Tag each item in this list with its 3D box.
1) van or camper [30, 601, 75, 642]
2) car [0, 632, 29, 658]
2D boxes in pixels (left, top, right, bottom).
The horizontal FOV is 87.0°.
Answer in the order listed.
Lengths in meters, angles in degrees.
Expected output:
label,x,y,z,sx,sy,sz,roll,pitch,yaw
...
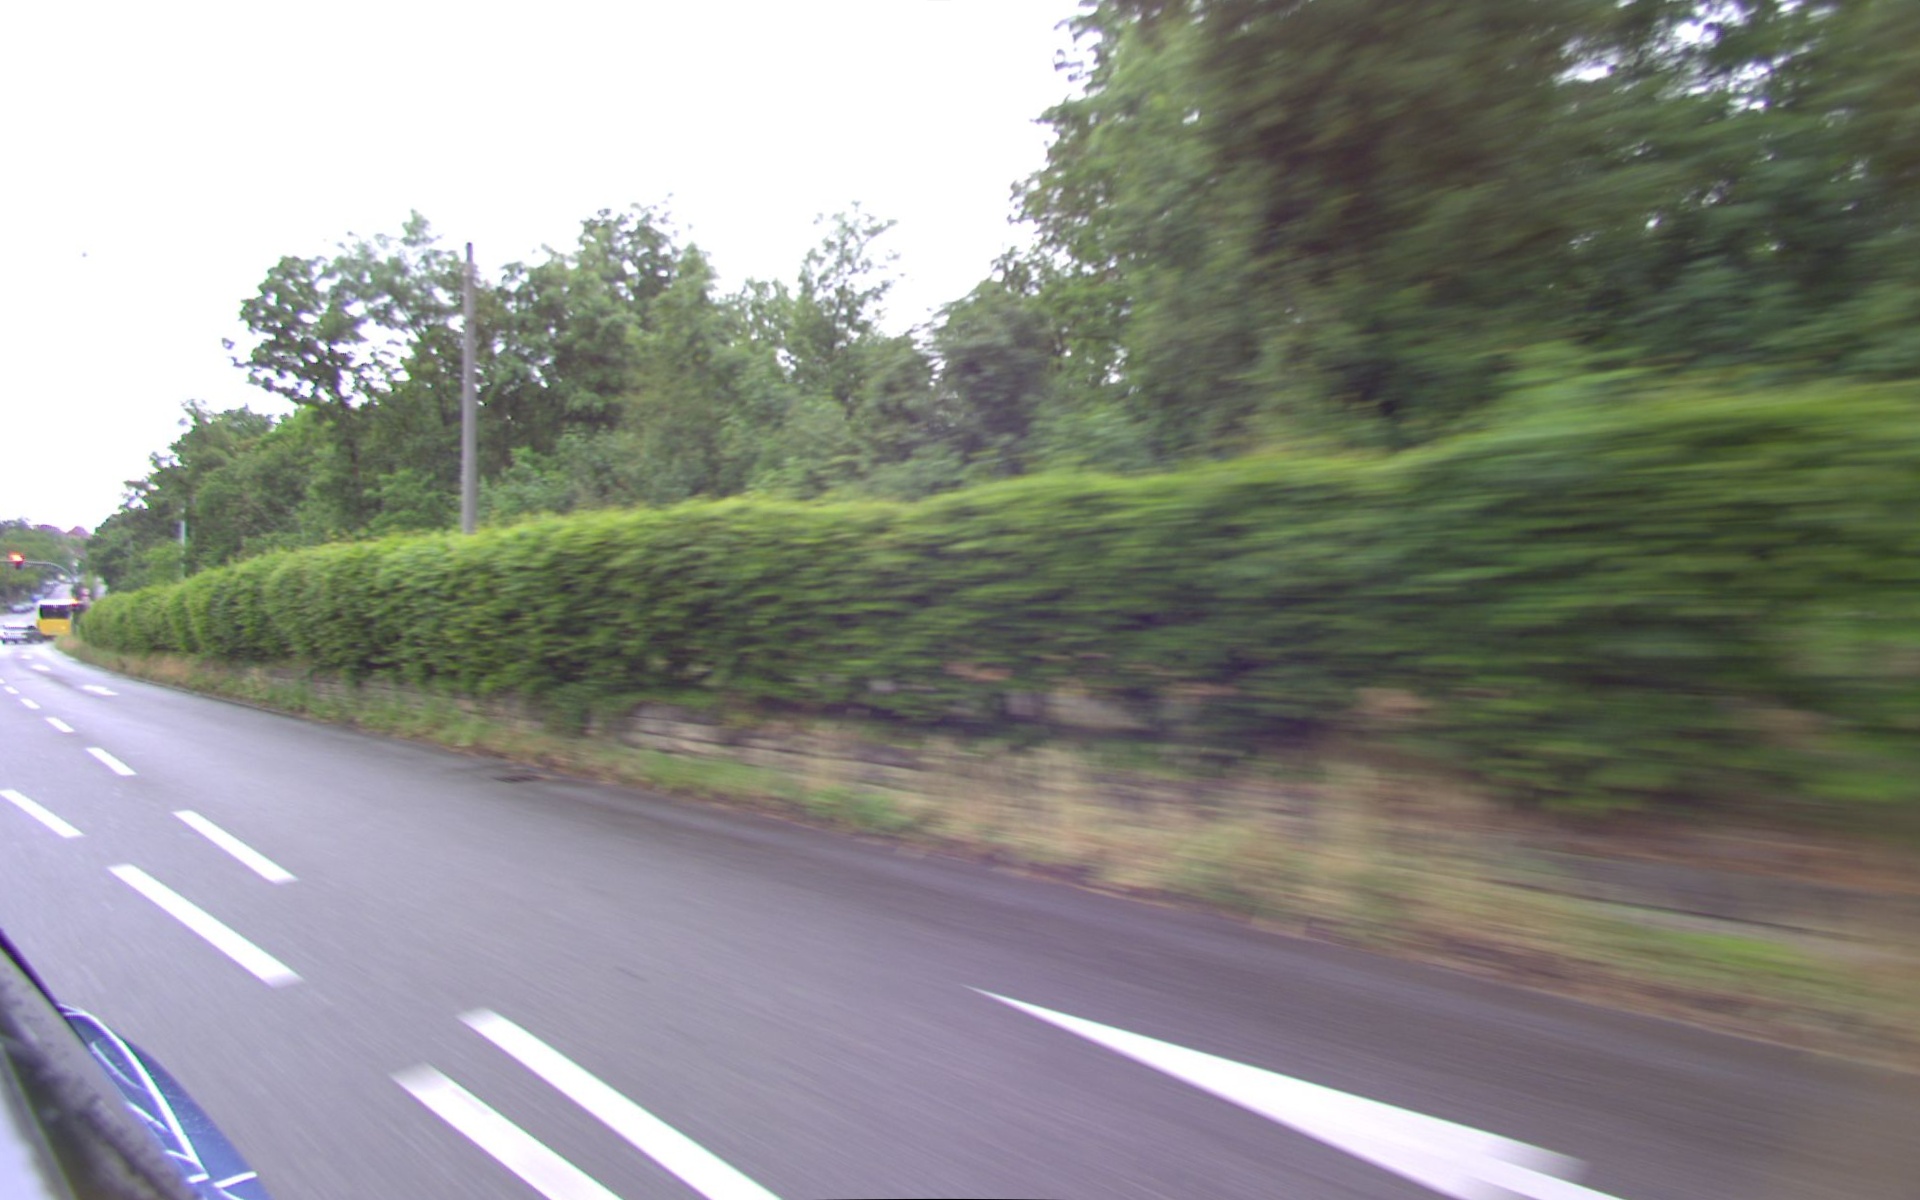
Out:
label,x,y,z,sx,sy,sz,roll,pitch,yaw
van or camper,-75.178,1.767,83.807,2.698,3.251,6.983,-1,0,-42
car,-72.971,3.440,77.877,1.757,1.904,3.795,-1,0,-39
